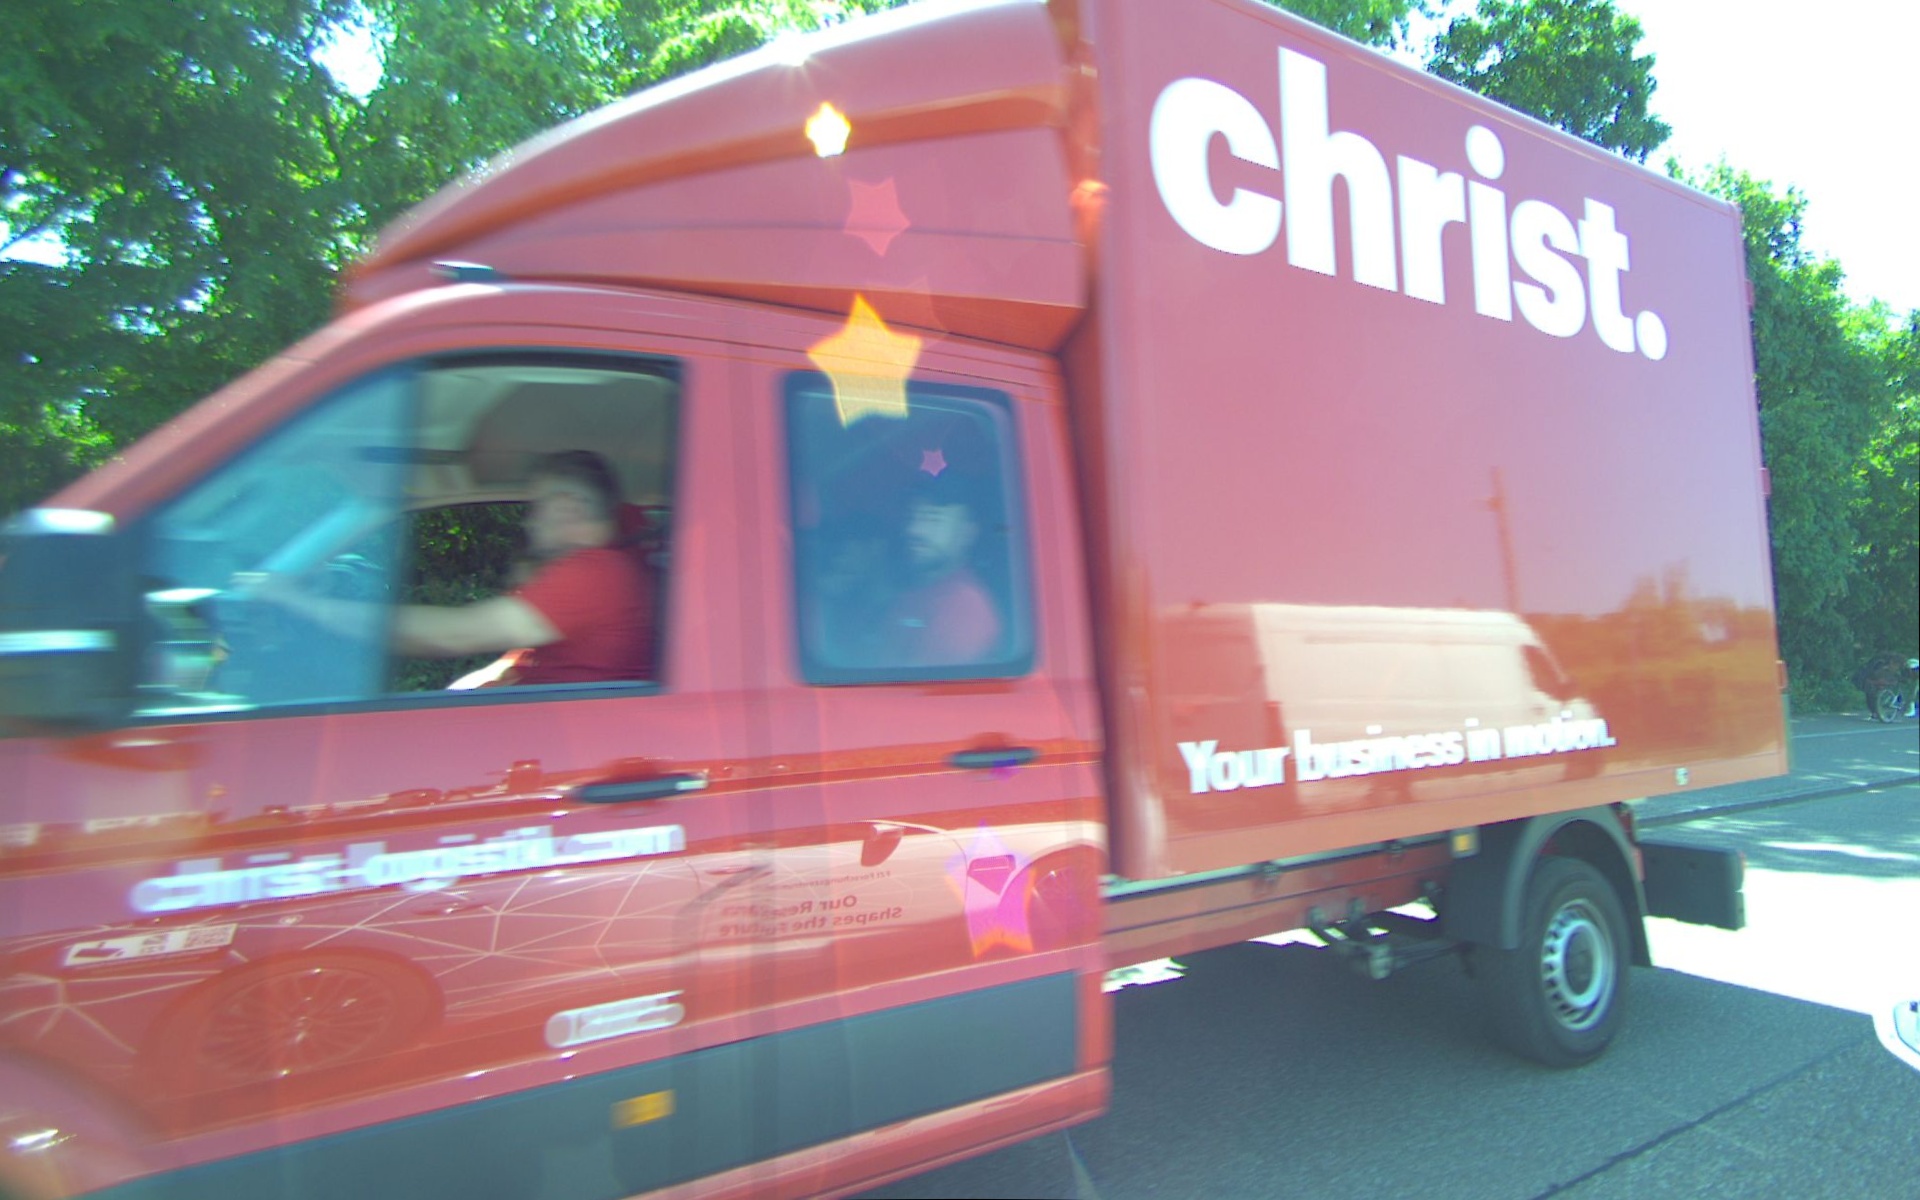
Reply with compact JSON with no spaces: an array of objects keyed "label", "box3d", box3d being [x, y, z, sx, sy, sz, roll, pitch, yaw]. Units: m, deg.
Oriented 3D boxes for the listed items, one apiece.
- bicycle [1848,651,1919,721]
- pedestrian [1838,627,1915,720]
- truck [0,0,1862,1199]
[{"label":"bicycle","box3d":[17.711,1.619,18.957,1.930,1.253,0.521,2,-1,-18]},{"label":"pedestrian","box3d":[17.539,1.384,19.235,0.764,1.741,0.808,1,-1,-14]},{"label":"truck","box3d":[0.232,-0.101,3.699,7.075,3.484,2.313,1,-5,-30]}]
